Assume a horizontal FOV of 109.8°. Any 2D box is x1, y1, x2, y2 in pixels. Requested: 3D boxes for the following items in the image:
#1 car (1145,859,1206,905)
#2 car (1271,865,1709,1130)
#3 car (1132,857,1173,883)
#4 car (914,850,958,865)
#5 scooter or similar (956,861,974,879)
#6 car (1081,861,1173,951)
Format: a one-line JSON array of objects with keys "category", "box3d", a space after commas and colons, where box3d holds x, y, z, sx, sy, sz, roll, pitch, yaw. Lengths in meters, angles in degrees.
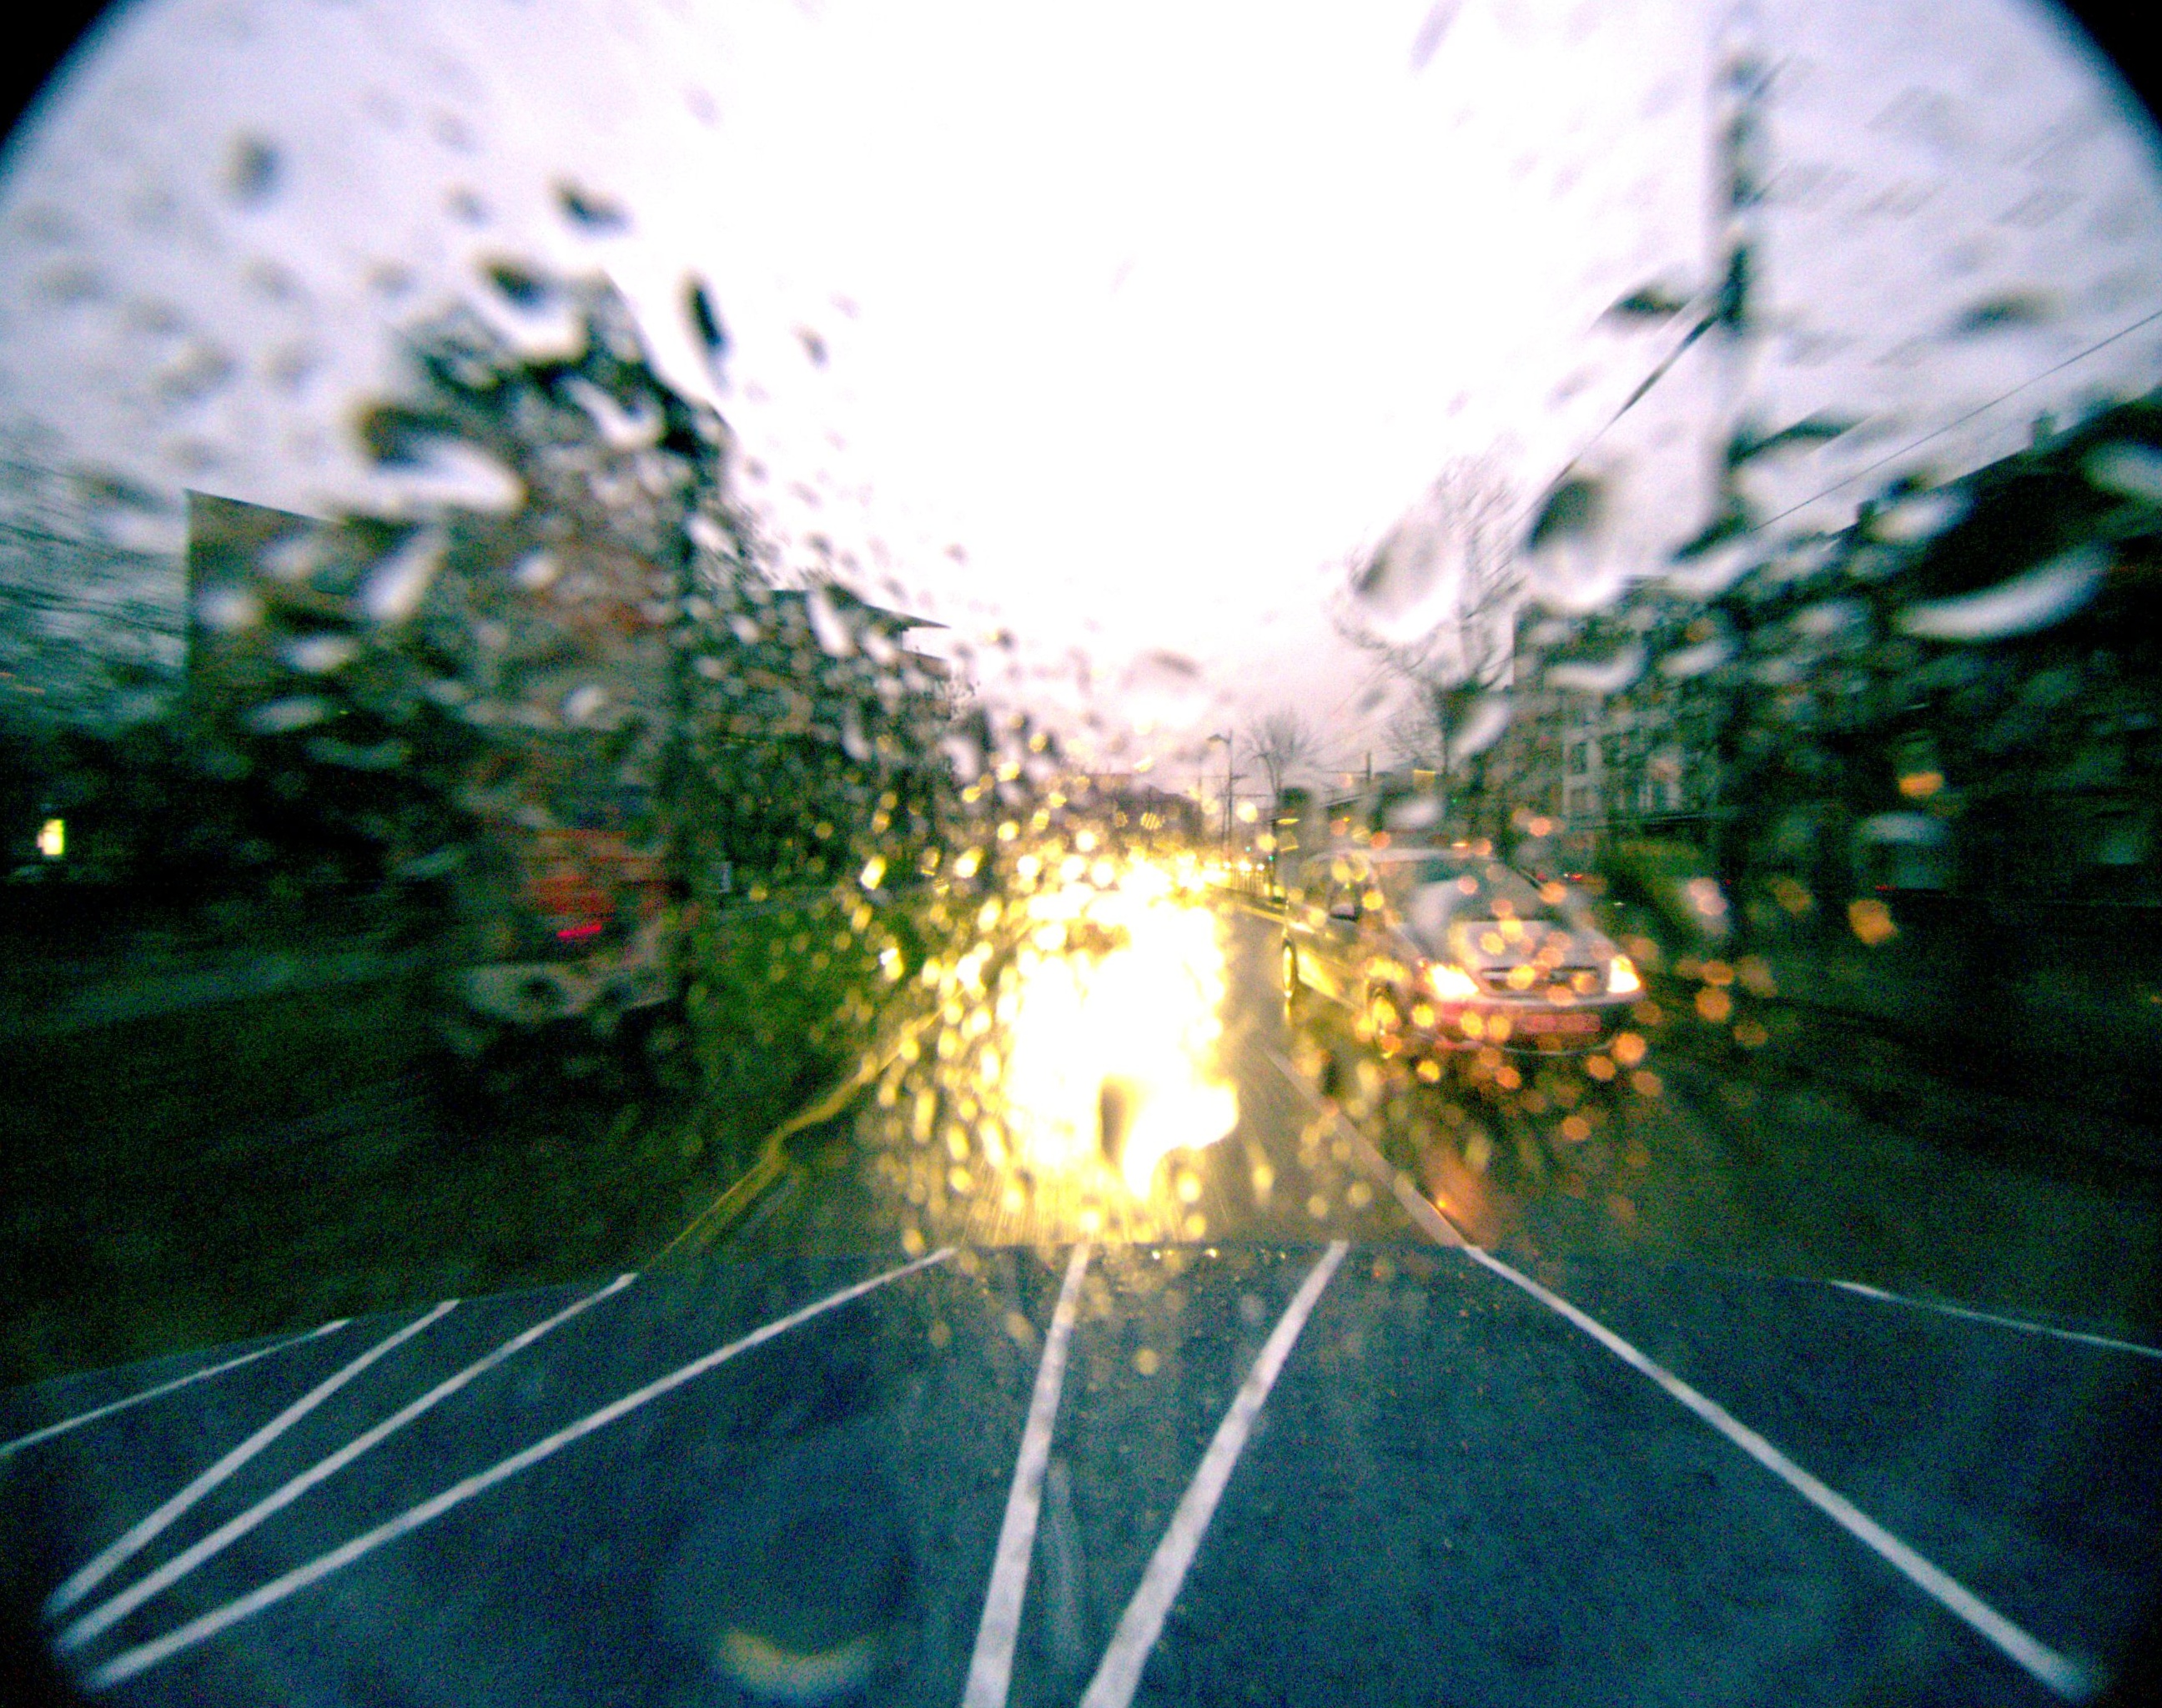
[{"category": "car", "box3d": [3.331, 0.955, 27.433, 1.753, 1.535, 4.000, 1, 0, 1]}, {"category": "car", "box3d": [2.949, 0.887, 6.578, 1.649, 1.539, 4.110, 0, 0, 1]}, {"category": "car", "box3d": [4.938, 1.068, 51.948, 1.816, 1.732, 4.193, 1, 0, 19]}, {"category": "car", "box3d": [-16.129, 0.411, 84.772, 4.510, 1.660, 2.000, 0, 0, -2]}, {"category": "scooter or similar", "box3d": [-7.910, 1.078, 51.951, 1.146, 1.224, 0.487, 0, 0, -15]}, {"category": "car", "box3d": [0.826, 0.963, 15.674, 1.649, 1.575, 3.804, -1, 0, 0]}]
